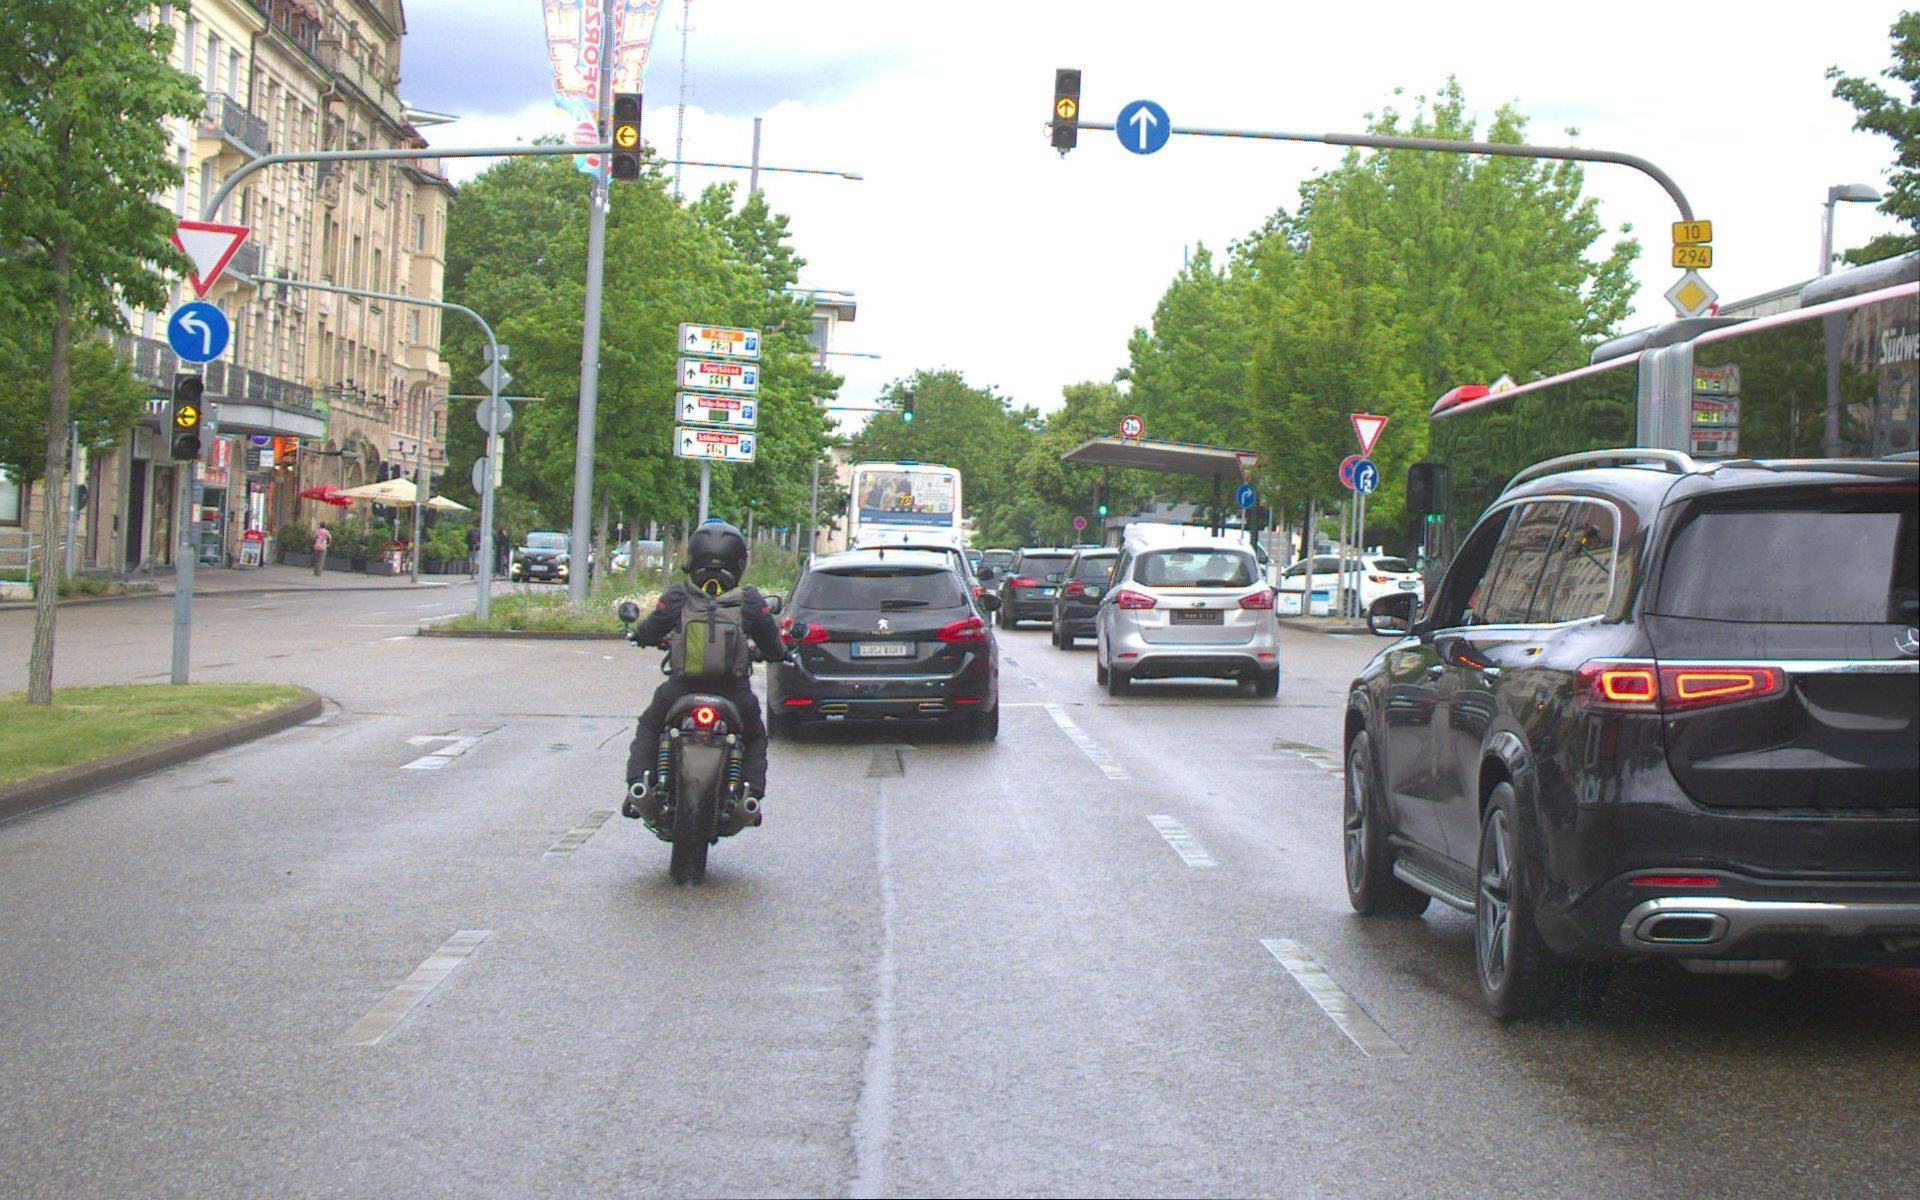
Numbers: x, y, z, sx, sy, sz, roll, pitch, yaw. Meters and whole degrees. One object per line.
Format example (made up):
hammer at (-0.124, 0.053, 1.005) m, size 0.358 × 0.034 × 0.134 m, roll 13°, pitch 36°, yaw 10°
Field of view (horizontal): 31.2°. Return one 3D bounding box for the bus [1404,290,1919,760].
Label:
bus at (5.990, -0.583, 28.718) m, size 3.291 × 3.278 × 8.850 m, roll 1°, pitch 1°, yaw 0°

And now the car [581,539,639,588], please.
car at (-11.337, -1.190, 111.507) m, size 1.575 × 1.562 × 3.430 m, roll 0°, pitch 1°, yaw -1°

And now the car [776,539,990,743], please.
car at (-0.582, 0.268, 27.238) m, size 1.575 × 1.499 × 3.871 m, roll 0°, pitch 1°, yaw 0°

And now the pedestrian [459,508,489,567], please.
pedestrian at (-16.388, -2.103, 115.881) m, size 0.724 × 1.959 × 0.826 m, roll 1°, pitch 1°, yaw -27°

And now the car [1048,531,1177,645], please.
car at (2.143, -0.198, 49.110) m, size 1.575 × 1.562 × 3.871 m, roll 0°, pitch 1°, yaw -1°

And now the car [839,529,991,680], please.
car at (-0.514, 0.014, 37.688) m, size 1.575 × 1.562 × 3.871 m, roll 0°, pitch 1°, yaw -1°

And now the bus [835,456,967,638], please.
bus at (-1.492, -1.225, 82.718) m, size 2.837 × 3.974 × 11.864 m, roll 2°, pitch 0°, yaw -2°

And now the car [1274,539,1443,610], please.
car at (9.063, -0.594, 78.417) m, size 1.576 × 1.562 × 3.794 m, roll -1°, pitch 1°, yaw -40°

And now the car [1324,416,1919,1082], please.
car at (2.572, 0.375, 12.113) m, size 1.957 × 1.869 × 4.874 m, roll 0°, pitch 1°, yaw -1°

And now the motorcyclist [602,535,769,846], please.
motorcyclist at (-1.216, 0.390, 15.327) m, size 0.641 × 1.343 × 0.689 m, roll 1°, pitch 1°, yaw 2°

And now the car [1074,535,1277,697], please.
car at (2.146, 0.121, 35.080) m, size 1.741 × 1.562 × 3.871 m, roll 0°, pitch 1°, yaw -1°

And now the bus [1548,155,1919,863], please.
bus at (6.055, -0.460, 19.912) m, size 3.286 × 3.280 × 10.878 m, roll 1°, pitch 1°, yaw 0°

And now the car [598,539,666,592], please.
car at (-9.863, -1.048, 103.407) m, size 1.780 × 1.562 × 3.430 m, roll 0°, pitch 1°, yaw -1°

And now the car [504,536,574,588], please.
car at (-12.870, -1.177, 105.226) m, size 1.780 × 1.562 × 3.430 m, roll 0°, pitch 1°, yaw -1°

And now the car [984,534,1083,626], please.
car at (1.272, -0.375, 60.720) m, size 1.575 × 1.562 × 3.796 m, roll 0°, pitch 1°, yaw -1°

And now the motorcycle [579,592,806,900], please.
motorcycle at (-1.160, 0.608, 15.317) m, size 0.793 × 1.258 × 1.855 m, roll 0°, pitch 1°, yaw 2°

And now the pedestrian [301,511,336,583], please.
pedestrian at (-18.099, -1.494, 96.981) m, size 0.724 × 2.007 × 0.826 m, roll 1°, pitch 1°, yaw -27°
